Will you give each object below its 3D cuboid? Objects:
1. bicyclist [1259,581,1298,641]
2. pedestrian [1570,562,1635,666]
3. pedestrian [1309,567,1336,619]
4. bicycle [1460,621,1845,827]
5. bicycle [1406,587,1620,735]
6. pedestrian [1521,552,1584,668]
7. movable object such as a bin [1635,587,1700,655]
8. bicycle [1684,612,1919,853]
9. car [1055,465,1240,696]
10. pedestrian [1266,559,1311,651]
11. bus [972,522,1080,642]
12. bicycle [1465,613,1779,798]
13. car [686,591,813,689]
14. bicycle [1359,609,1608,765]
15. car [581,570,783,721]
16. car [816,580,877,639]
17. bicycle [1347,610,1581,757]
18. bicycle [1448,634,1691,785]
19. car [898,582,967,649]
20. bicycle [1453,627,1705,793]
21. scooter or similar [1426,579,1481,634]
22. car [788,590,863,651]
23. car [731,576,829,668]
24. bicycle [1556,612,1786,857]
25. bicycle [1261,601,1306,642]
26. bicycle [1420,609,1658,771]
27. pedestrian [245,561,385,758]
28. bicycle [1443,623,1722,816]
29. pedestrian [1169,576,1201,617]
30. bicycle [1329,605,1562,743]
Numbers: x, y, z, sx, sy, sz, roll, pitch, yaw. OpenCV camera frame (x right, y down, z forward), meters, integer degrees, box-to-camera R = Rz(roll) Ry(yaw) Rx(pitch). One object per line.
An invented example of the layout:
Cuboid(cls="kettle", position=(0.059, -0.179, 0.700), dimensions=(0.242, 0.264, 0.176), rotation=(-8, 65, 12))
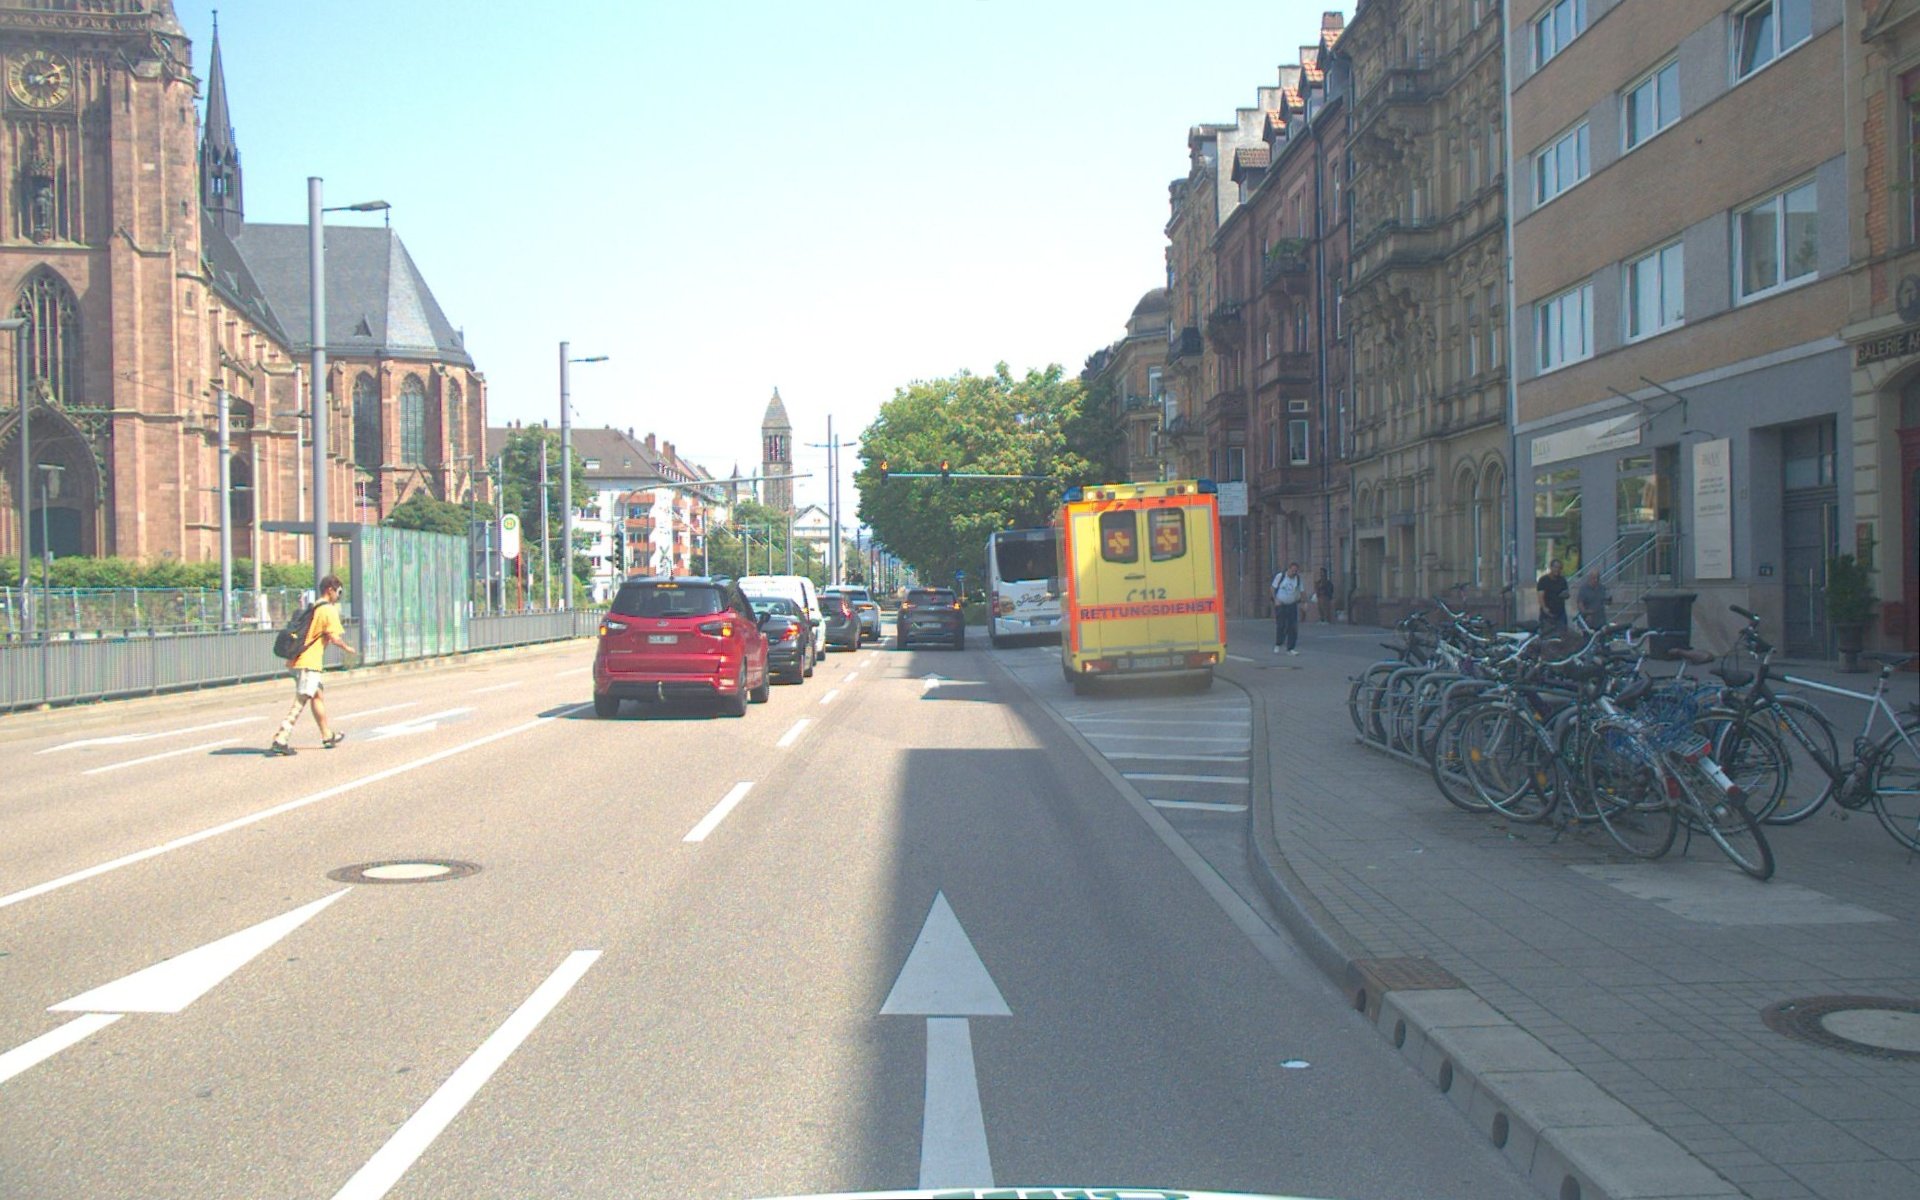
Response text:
Cuboid(cls="bicyclist", position=(7.269, 0.253, 37.750), dimensions=(0.737, 1.345, 0.581), rotation=(-1, 0, -1))
Cuboid(cls="pedestrian", position=(9.689, 0.207, 24.947), dimensions=(0.630, 1.519, 0.789), rotation=(-1, 0, -2))
Cuboid(cls="pedestrian", position=(11.378, -0.217, 51.943), dimensions=(0.611, 1.621, 0.695), rotation=(-1, 0, -7))
Cuboid(cls="bicycle", position=(3.901, 0.683, 9.347), dimensions=(2.080, 1.090, 0.381), rotation=(0, 1, -6))
Cuboid(cls="bicycle", position=(4.765, 0.518, 14.325), dimensions=(1.638, 1.237, 0.644), rotation=(-1, 0, 4))
Cuboid(cls="pedestrian", position=(8.974, 0.147, 25.066), dimensions=(0.630, 1.714, 0.789), rotation=(-1, 0, -2))
Cuboid(cls="movable object such as a bin", position=(11.365, 0.335, 26.574), dimensions=(0.643, 1.066, 0.752), rotation=(-2, 0, -44))
Cuboid(cls="bicycle", position=(4.619, 0.647, 8.486), dimensions=(1.535, 1.139, 0.688), rotation=(0, 1, 41))
Cuboid(cls="car", position=(2.610, -0.287, 24.437), dimensions=(2.251, 2.938, 5.601), rotation=(-2, 1, 3))
Cuboid(cls="pedestrian", position=(6.135, 0.093, 30.859), dimensions=(0.683, 1.696, 0.602), rotation=(-1, 0, 25))
Cuboid(cls="bus", position=(1.774, -0.491, 49.378), dimensions=(2.482, 3.085, 12.433), rotation=(-1, 0, -1))
Cuboid(cls="bicycle", position=(4.065, 0.640, 10.199), dimensions=(1.798, 1.090, 0.365), rotation=(0, 1, -1))
Cuboid(cls="car", position=(-3.446, 0.612, 27.701), dimensions=(1.754, 1.456, 3.998), rotation=(-1, 0, -3))
Cuboid(cls="bicycle", position=(3.824, 0.624, 12.155), dimensions=(1.624, 1.090, 0.644), rotation=(0, 1, -1))
Cuboid(cls="car", position=(-3.326, 0.491, 20.505), dimensions=(1.726, 1.646, 4.083), rotation=(-1, 0, 1))
Cuboid(cls="car", position=(-3.480, 0.297, 51.296), dimensions=(1.754, 1.728, 3.998), rotation=(-1, -1, -2))
Cuboid(cls="bicycle", position=(3.913, 0.633, 12.904), dimensions=(1.624, 1.090, 0.644), rotation=(-1, 0, -1))
Cuboid(cls="bicycle", position=(4.070, 0.724, 11.081), dimensions=(1.506, 0.969, 0.365), rotation=(0, 1, -1))
Cuboid(cls="car", position=(-0.798, 0.413, 44.877), dimensions=(1.754, 1.707, 3.998), rotation=(-1, -1, -2))
Cuboid(cls="bicycle", position=(3.997, 0.703, 10.716), dimensions=(1.506, 1.034, 0.365), rotation=(0, 1, -1))
Cuboid(cls="scooter or similar", position=(11.111, 0.147, 37.284), dimensions=(0.505, 1.217, 1.296), rotation=(-1, 0, -20))
Cuboid(cls="car", position=(-3.491, 0.527, 43.466), dimensions=(1.754, 1.498, 3.998), rotation=(-1, -1, -2))
Cuboid(cls="car", position=(-3.763, 0.452, 35.113), dimensions=(1.754, 1.811, 3.998), rotation=(-1, -1, -2))
Cuboid(cls="bicycle", position=(3.515, 0.616, 8.298), dimensions=(0.466, 1.089, 1.505), rotation=(-1, 0, -1))
Cuboid(cls="bicycle", position=(7.328, 0.472, 37.532), dimensions=(0.577, 0.869, 1.774), rotation=(-1, 0, -2))
Cuboid(cls="bicycle", position=(4.036, 0.618, 11.570), dimensions=(1.506, 1.090, 0.472), rotation=(0, 1, -1))
Cuboid(cls="pedestrian", position=(-6.084, 0.539, 15.595), dimensions=(1.057, 1.782, 0.753), rotation=(-1, -1, -37))
Cuboid(cls="bicycle", position=(3.643, 0.692, 9.721), dimensions=(1.506, 1.090, 0.365), rotation=(0, 1, -1))
Cuboid(cls="pedestrian", position=(10.326, -0.185, 75.864), dimensions=(1.223, 1.782, 1.526), rotation=(-1, 2, 0))
Cuboid(cls="bicycle", position=(3.977, 0.597, 13.638), dimensions=(1.739, 1.090, 0.644), rotation=(-1, 0, 4))
